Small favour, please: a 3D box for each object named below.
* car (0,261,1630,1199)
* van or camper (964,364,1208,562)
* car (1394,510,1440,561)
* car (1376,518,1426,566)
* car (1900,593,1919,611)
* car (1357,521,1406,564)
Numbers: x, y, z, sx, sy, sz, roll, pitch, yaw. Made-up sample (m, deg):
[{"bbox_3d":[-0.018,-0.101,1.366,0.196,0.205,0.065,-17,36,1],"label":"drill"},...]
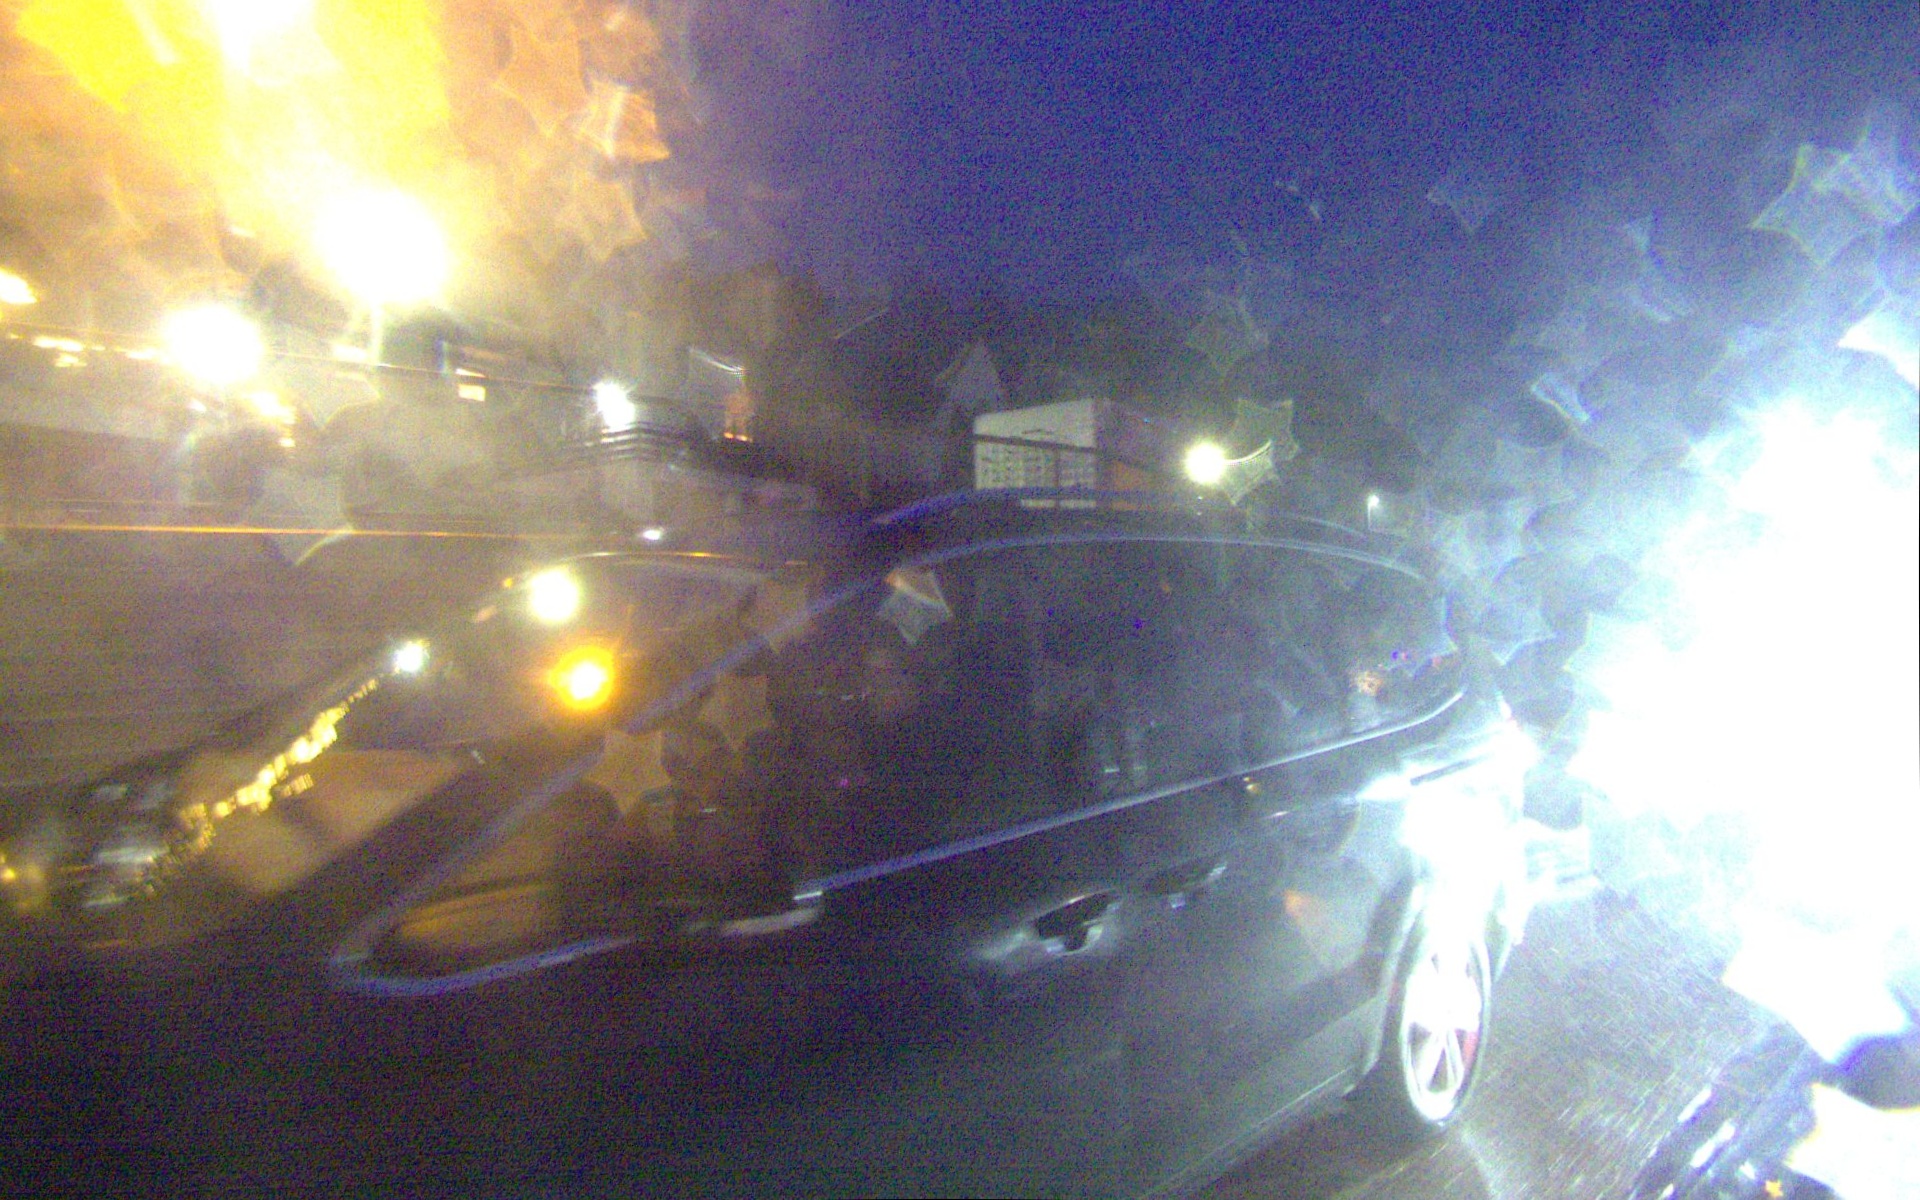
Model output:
[{"bbox_3d":[-0.137,0.566,2.629,4.854,1.757,1.838,-1,0,-40],"label":"car"},{"bbox_3d":[2.517,-2.191,18.404,2.394,2.828,5.712,-1,0,30],"label":"van or camper"},{"bbox_3d":[27.513,-3.806,60.873,1.922,2.809,4.206,-1,0,32],"label":"car"},{"bbox_3d":[24.614,-3.191,56.359,1.922,2.451,4.206,-1,0,32],"label":"car"},{"bbox_3d":[95.681,0.220,99.752,1.958,1.718,4.008,-1,0,-22],"label":"car"},{"bbox_3d":[21.602,-2.905,51.831,1.721,2.039,3.658,-1,0,32],"label":"car"}]
